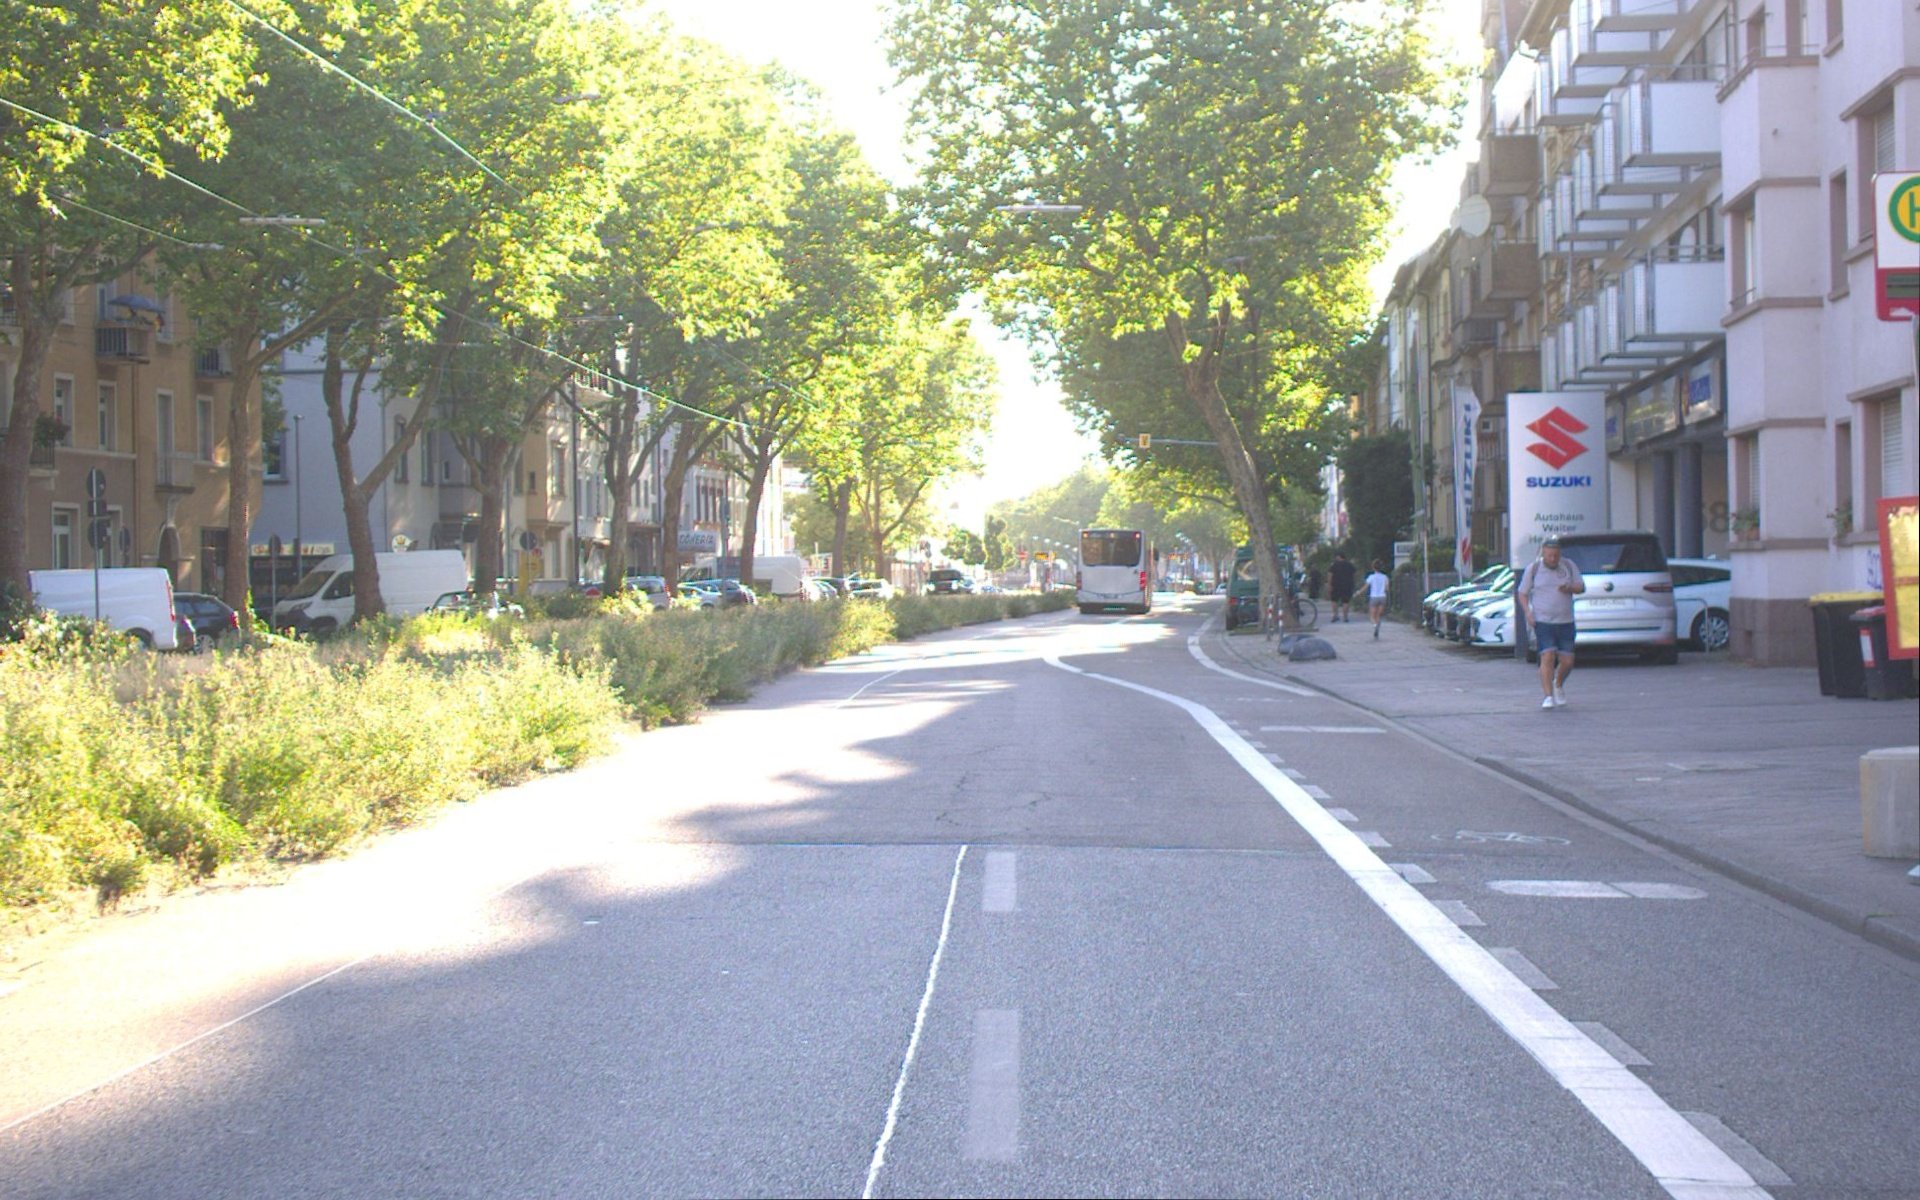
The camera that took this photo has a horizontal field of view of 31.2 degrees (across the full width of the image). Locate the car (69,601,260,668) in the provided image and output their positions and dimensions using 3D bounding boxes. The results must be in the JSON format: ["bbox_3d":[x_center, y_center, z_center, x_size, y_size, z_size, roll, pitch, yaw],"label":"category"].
[{"bbox_3d":[-17.489,0.741,75.644,3.717,1.417,1.721,-1,0,-37],"label":"car"}]

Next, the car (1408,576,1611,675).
[{"bbox_3d":[10.031,0.453,62.923,3.581,1.714,1.681,-1,1,7],"label":"car"}]

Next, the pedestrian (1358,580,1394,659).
[{"bbox_3d":[8.576,0.402,70.905,0.663,1.623,0.922,-1,-1,4],"label":"pedestrian"}]

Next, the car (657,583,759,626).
[{"bbox_3d":[-11.029,0.199,150.654,3.986,1.693,1.856,-2,0,-27],"label":"car"}]

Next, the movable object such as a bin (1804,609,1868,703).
[{"bbox_3d":[9.109,0.582,35.760,0.554,0.966,0.584,-1,-1,6],"label":"movable object such as a bin"}]

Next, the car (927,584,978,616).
[{"bbox_3d":[-0.446,0.020,188.697,1.868,1.688,4.777,0,-1,-12],"label":"car"}]

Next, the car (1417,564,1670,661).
[{"bbox_3d":[9.471,0.195,56.022,3.869,1.509,1.809,-1,1,3],"label":"car"}]

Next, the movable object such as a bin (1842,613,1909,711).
[{"bbox_3d":[9.172,0.615,34.438,0.554,0.966,0.584,-1,-1,6],"label":"movable object such as a bin"}]

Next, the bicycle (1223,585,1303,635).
[{"bbox_3d":[7.046,0.238,80.039,1.845,1.139,0.348,-1,-1,4],"label":"bicycle"}]

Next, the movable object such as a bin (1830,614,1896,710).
[{"bbox_3d":[9.200,0.629,35.039,0.554,0.966,0.584,-1,-1,6],"label":"movable object such as a bin"}]

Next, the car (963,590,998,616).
[{"bbox_3d":[1.238,0.180,206.606,1.790,1.568,3.999,-1,0,5],"label":"car"}]

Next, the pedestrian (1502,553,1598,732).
[{"bbox_3d":[6.048,0.434,35.295,0.829,1.806,1.150,-1,-1,3],"label":"pedestrian"}]

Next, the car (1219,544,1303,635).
[{"bbox_3d":[7.721,-0.236,88.479,1.994,2.249,5.234,-1,-1,3],"label":"car"}]

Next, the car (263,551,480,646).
[{"bbox_3d":[-16.092,-0.073,94.130,5.492,2.520,2.126,-1,0,-37],"label":"car"}]

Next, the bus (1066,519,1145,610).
[{"bbox_3d":[5.379,-1.264,127.605,2.833,3.224,8.181,-1,-1,2],"label":"bus"}]

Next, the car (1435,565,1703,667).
[{"bbox_3d":[9.442,0.239,53.514,3.811,1.496,1.914,-1,1,0],"label":"car"}]

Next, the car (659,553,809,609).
[{"bbox_3d":[-10.944,-0.923,166.386,6.935,2.669,2.186,0,-1,-16],"label":"car"}]

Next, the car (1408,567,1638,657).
[{"bbox_3d":[9.942,0.211,60.882,3.819,1.535,1.859,-1,0,3],"label":"car"}]

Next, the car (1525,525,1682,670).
[{"bbox_3d":[9.132,-0.009,49.095,1.893,1.942,4.899,-1,-1,7],"label":"car"}]

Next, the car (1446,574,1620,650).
[{"bbox_3d":[11.998,0.248,72.073,3.418,1.541,1.442,-1,-1,2],"label":"car"}]

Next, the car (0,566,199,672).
[{"bbox_3d":[-18.112,0.362,69.129,5.231,2.059,1.721,-1,0,-37],"label":"car"}]

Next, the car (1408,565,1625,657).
[{"bbox_3d":[9.487,0.181,58.771,3.418,1.520,1.741,-1,0,1],"label":"car"}]
